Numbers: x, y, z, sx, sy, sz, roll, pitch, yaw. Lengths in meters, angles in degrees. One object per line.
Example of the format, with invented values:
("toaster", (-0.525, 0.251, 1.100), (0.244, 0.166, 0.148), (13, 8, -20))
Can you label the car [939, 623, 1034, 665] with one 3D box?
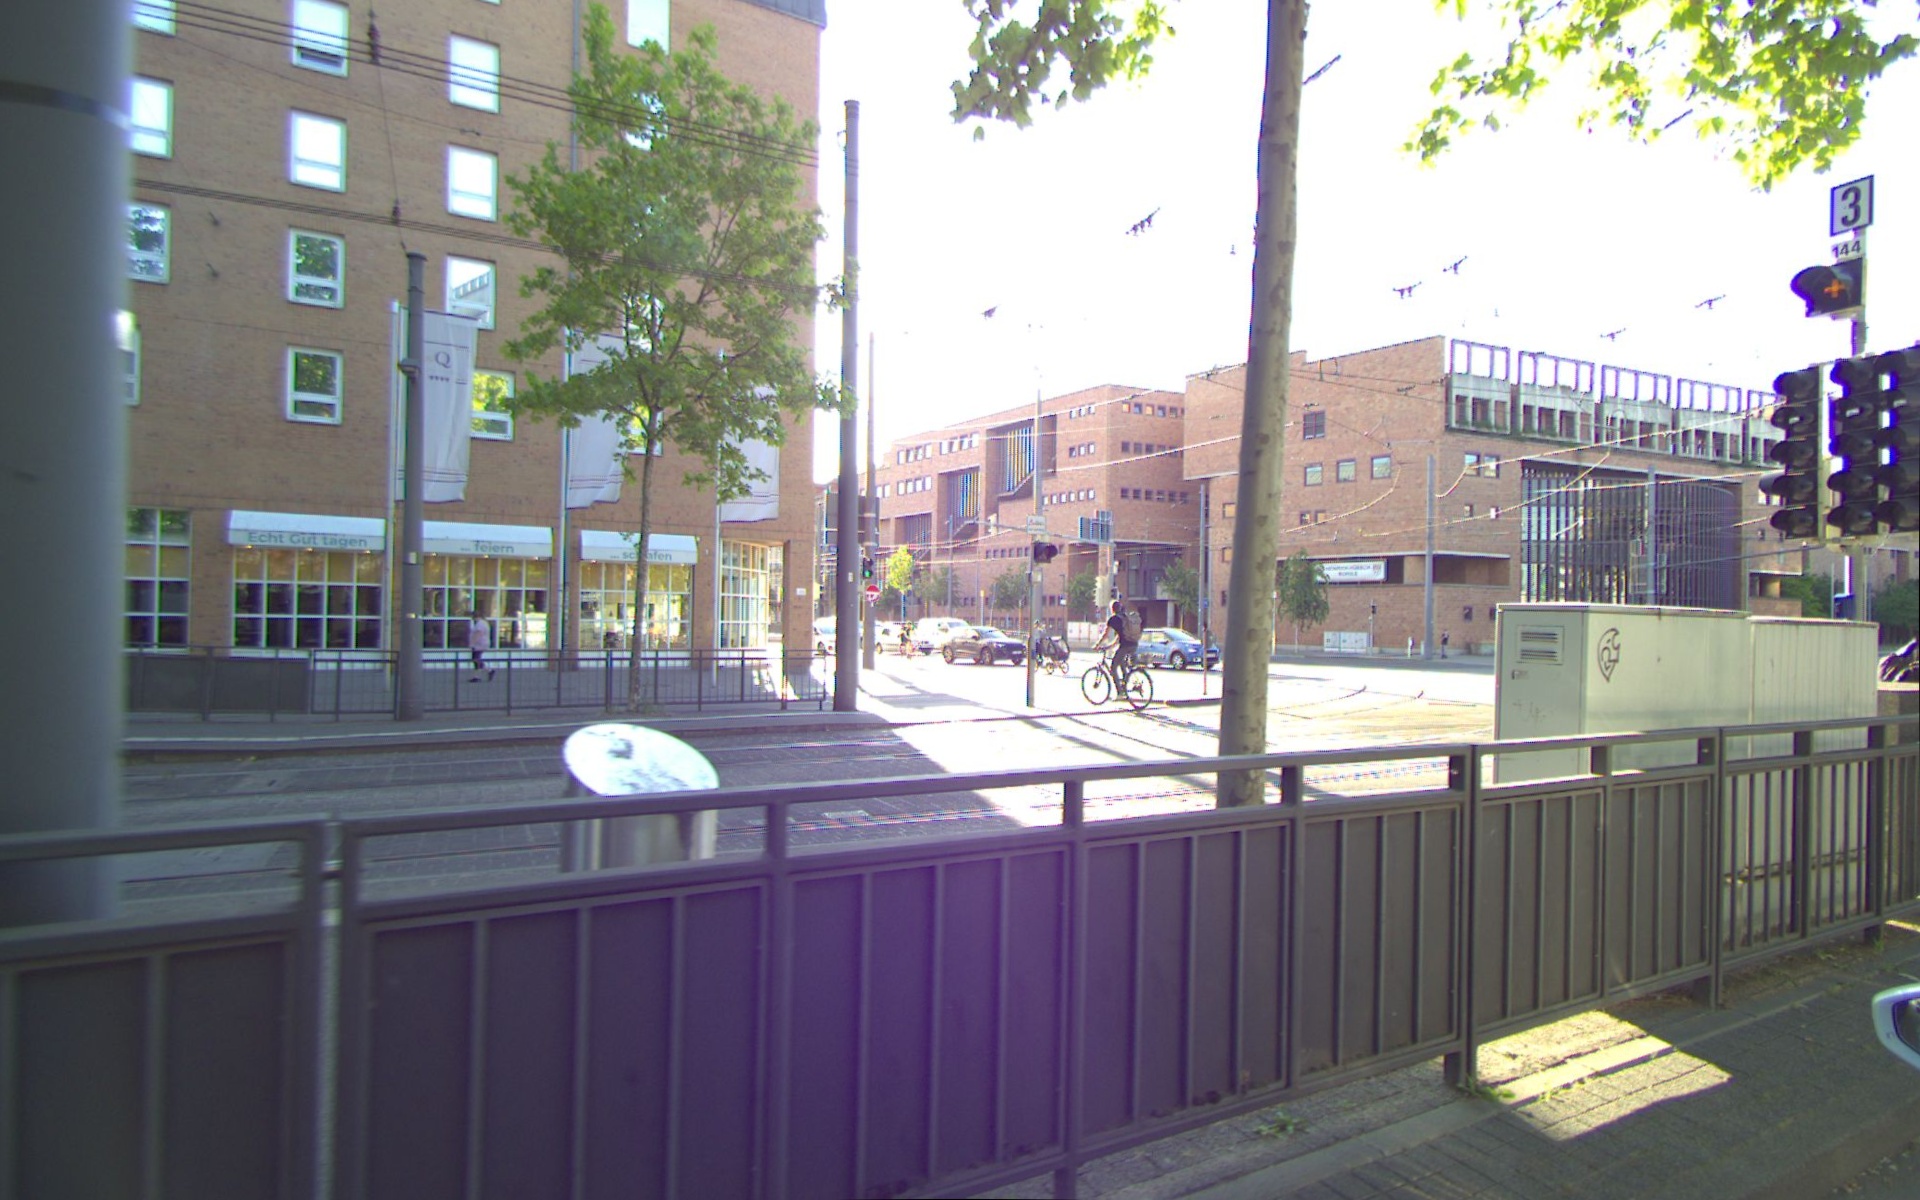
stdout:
("car", (1.063, 1.807, 42.249), (1.805, 1.604, 4.456), (2, -1, -33))

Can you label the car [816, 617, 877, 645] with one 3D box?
("car", (-7.311, 1.942, 64.388), (1.981, 1.719, 4.315), (2, -2, -37))

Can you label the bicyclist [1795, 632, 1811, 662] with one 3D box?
("bicyclist", (49.283, 2.753, 58.717), (0.782, 1.697, 0.589), (2, -1, -36))

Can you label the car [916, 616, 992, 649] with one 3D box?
("car", (-0.346, 1.733, 54.728), (1.981, 1.719, 4.315), (2, -2, -37))

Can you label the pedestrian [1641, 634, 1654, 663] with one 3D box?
("pedestrian", (39.147, 2.750, 57.178), (0.530, 1.672, 0.622), (0, -2, 41))

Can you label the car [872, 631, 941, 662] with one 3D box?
("car", (-2.829, 2.388, 52.273), (1.807, 1.453, 3.883), (2, -1, -35))

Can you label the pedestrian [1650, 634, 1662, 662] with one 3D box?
("pedestrian", (40.844, 2.806, 58.923), (0.530, 1.672, 0.622), (0, -2, 41))

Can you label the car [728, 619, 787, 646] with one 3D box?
("car", (-12.533, 1.986, 61.965), (1.980, 1.538, 4.356), (1, -1, -35))

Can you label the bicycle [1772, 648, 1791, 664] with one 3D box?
("bicycle", (48.518, 3.294, 59.325), (1.823, 0.893, 0.509), (2, -2, -39))

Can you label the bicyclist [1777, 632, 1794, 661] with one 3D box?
("bicyclist", (48.696, 2.731, 59.250), (0.782, 1.697, 0.589), (2, -1, -36))

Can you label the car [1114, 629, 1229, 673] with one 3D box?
("car", (7.730, 1.831, 36.957), (1.979, 1.476, 3.931), (2, -2, -33))

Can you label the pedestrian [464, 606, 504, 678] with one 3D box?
("pedestrian", (-10.939, 0.969, 23.080), (0.717, 1.606, 0.586), (2, 1, -31))

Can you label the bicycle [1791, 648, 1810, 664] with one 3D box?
("bicycle", (49.174, 3.271, 58.771), (1.823, 0.893, 0.509), (2, -2, -39))

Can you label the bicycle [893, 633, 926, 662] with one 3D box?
("bicycle", (-2.064, 1.934, 41.041), (0.621, 1.078, 1.915), (1, -1, -27))

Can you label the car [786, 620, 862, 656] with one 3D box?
("car", (-7.278, 1.984, 53.368), (1.980, 1.750, 4.802), (2, -1, -35))

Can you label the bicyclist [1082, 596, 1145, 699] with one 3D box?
("bicyclist", (2.783, 0.848, 18.219), (0.746, 1.808, 0.843), (2, -2, -38))

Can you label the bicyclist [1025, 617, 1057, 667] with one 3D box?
("bicyclist", (2.807, 1.457, 34.779), (0.683, 1.703, 0.899), (1, -1, -32))

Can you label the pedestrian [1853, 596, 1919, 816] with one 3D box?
("pedestrian", (7.832, 0.836, 7.896), (0.751, 1.704, 1.065), (2, 0, -37))

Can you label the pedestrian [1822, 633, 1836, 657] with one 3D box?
("pedestrian", (67.043, 3.484, 77.468), (0.538, 1.834, 0.640), (1, -1, -23))

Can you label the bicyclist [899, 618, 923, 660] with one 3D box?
("bicyclist", (-2.009, 1.577, 40.933), (0.631, 1.686, 0.900), (1, -1, -27))

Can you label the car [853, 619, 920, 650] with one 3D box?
("car", (-4.407, 2.037, 59.550), (1.981, 1.719, 4.315), (2, -2, -37))

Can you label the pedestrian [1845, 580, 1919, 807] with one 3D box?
("pedestrian", (8.377, 0.794, 8.582), (0.732, 1.896, 1.065), (2, 0, -37))

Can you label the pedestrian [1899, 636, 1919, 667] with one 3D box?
("pedestrian", (48.930, 2.638, 51.720), (0.503, 1.550, 0.749), (2, 0, -37))

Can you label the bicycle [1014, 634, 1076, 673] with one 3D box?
("bicycle", (2.914, 1.825, 34.633), (1.060, 1.243, 2.146), (1, 0, -31))

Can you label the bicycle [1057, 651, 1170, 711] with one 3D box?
("bicycle", (2.748, 1.430, 18.225), (0.662, 0.946, 2.161), (2, -1, -37))

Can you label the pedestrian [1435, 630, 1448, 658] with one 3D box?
("pedestrian", (28.504, 2.618, 59.469), (0.560, 1.635, 0.545), (1, -1, 1))

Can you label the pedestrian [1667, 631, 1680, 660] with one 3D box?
("pedestrian", (40.549, 2.588, 57.085), (0.530, 1.672, 0.622), (0, -2, 41))
